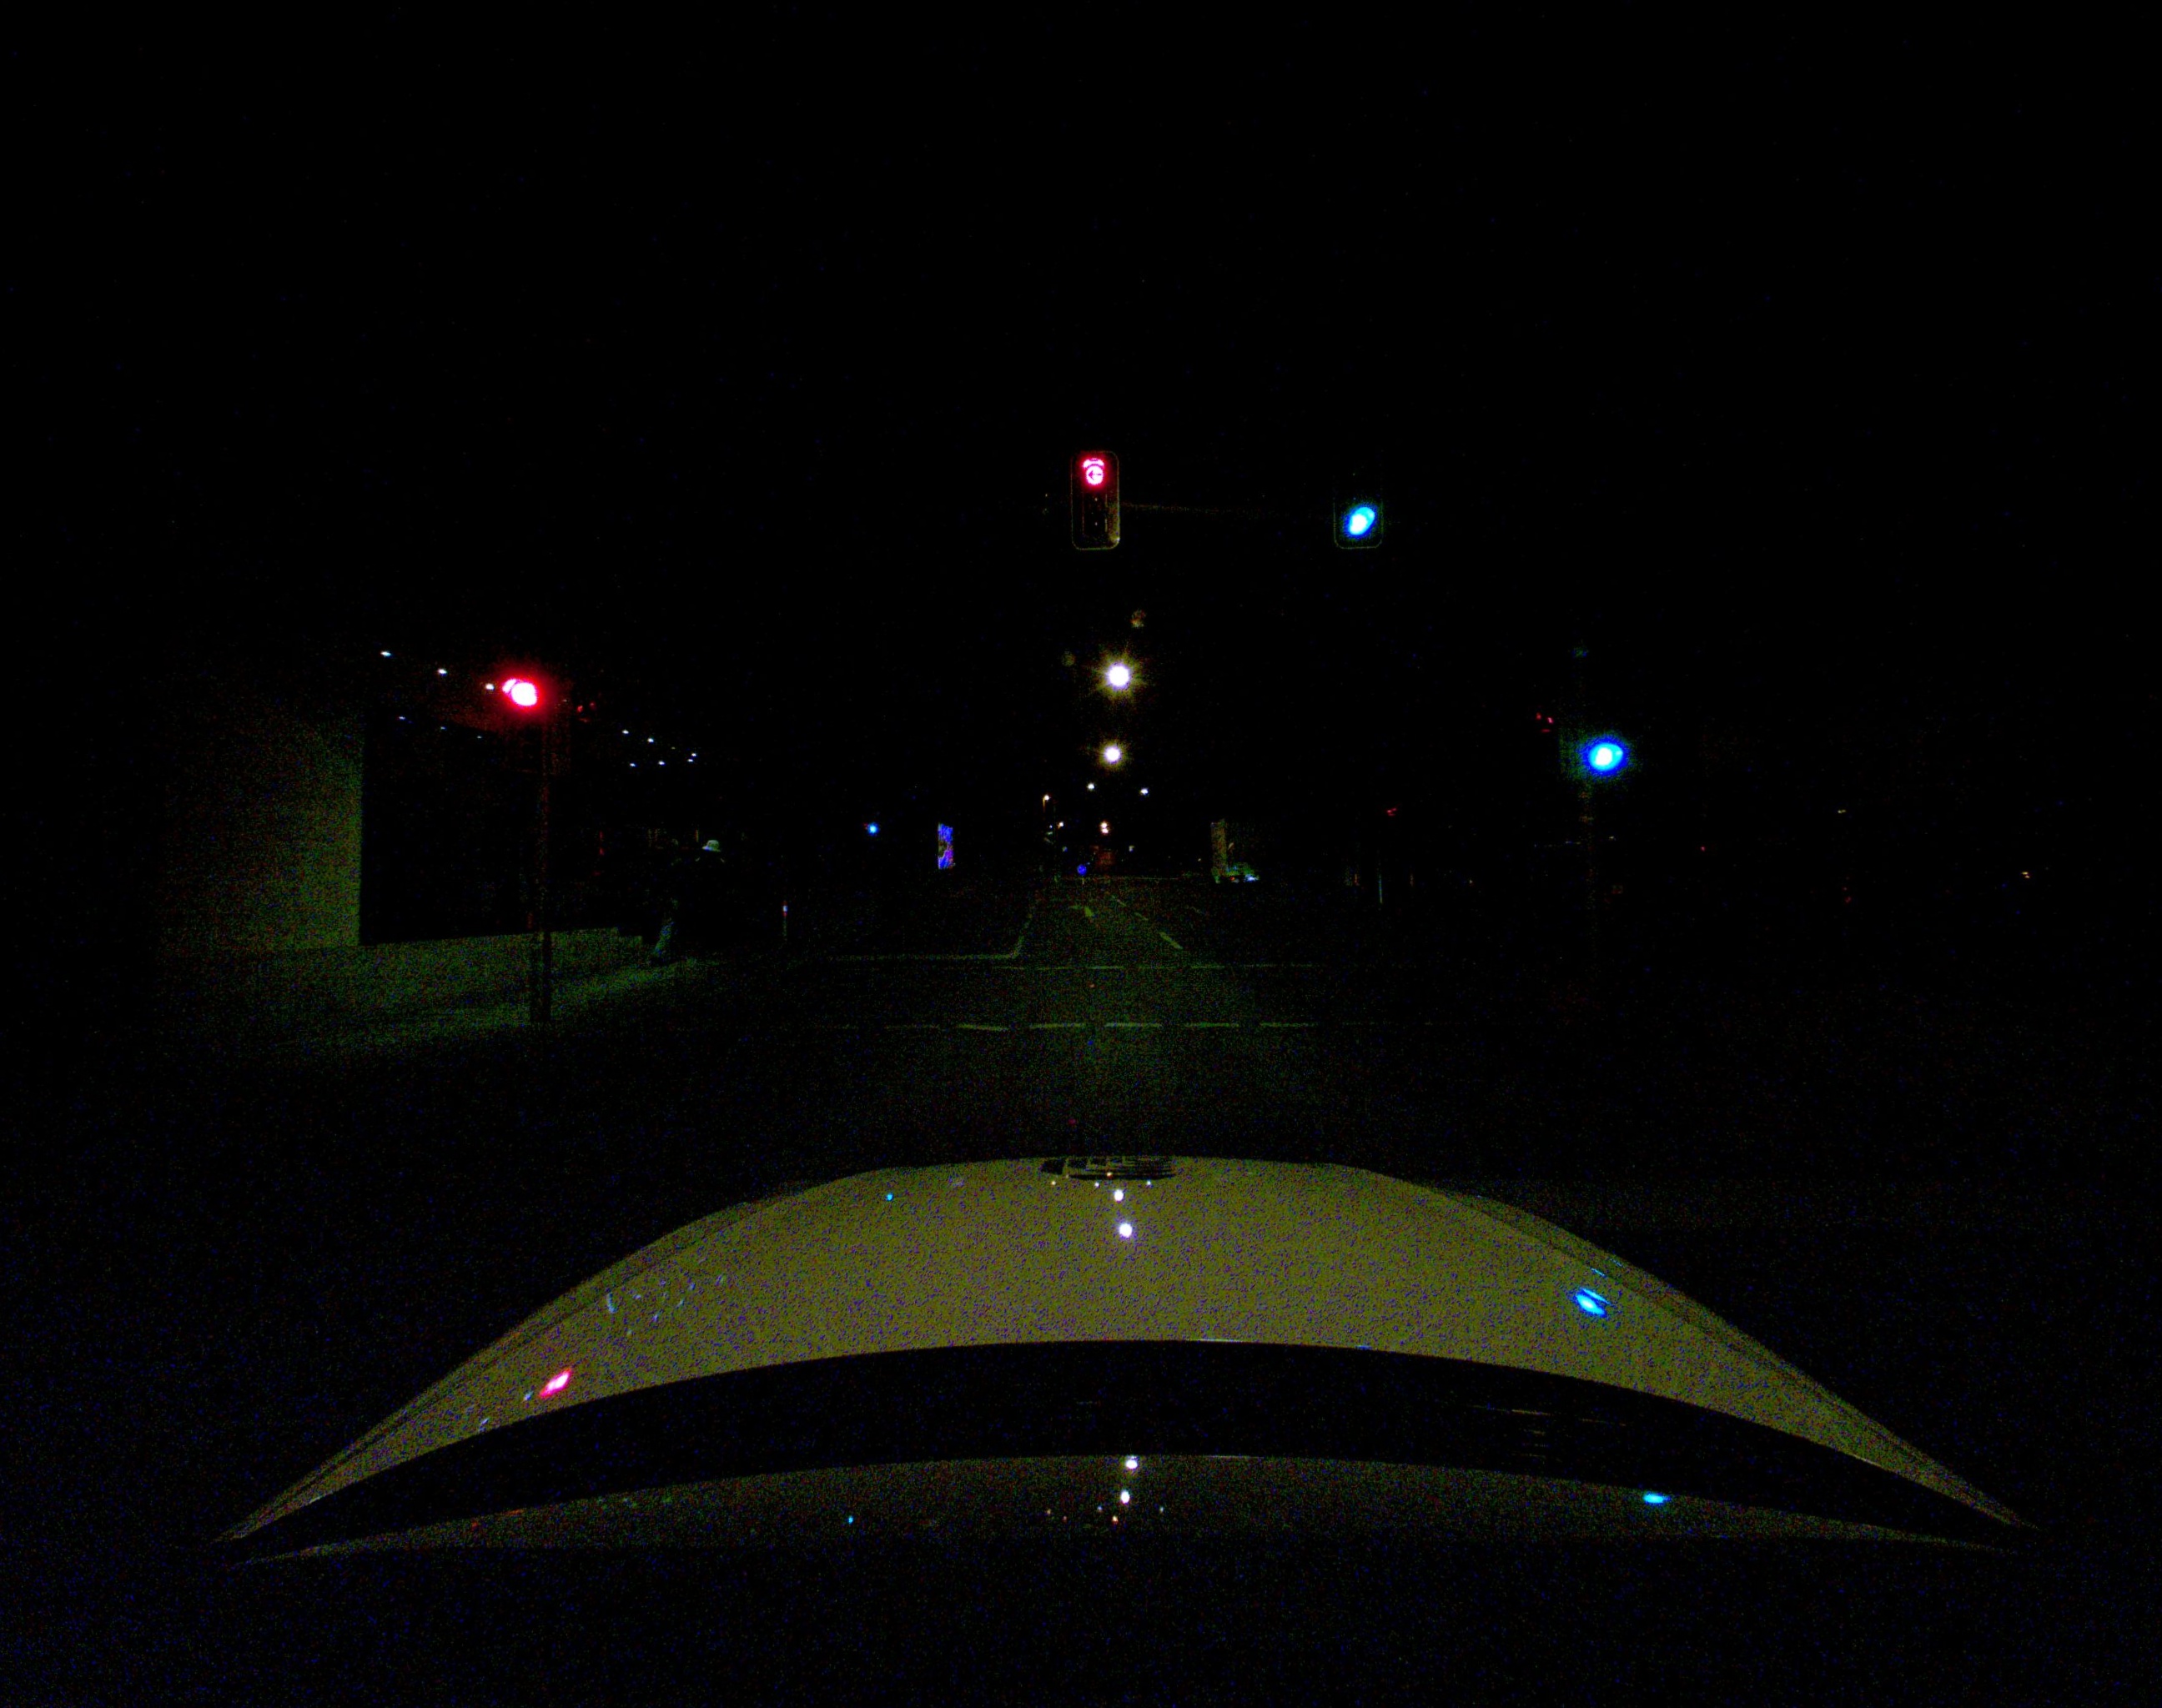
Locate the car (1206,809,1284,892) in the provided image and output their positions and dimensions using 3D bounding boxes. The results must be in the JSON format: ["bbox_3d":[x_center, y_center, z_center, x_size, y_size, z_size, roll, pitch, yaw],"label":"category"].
[{"bbox_3d":[6.764,-0.107,34.278,2.287,3.093,5.845,-2,-1,3],"label":"car"}]

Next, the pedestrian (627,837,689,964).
[{"bbox_3d":[-5.886,0.633,11.351,0.568,1.731,0.544,0,-1,1],"label":"pedestrian"}]

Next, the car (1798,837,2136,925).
[{"bbox_3d":[17.454,0.565,16.281,4.342,1.560,1.807,-2,-3,8],"label":"car"}]

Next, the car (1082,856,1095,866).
[{"bbox_3d":[1.255,1.171,134.610,1.901,1.557,3.906,0,-1,2],"label":"car"}]

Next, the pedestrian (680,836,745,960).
[{"bbox_3d":[-5.487,0.639,12.152,0.568,1.778,0.737,1,-1,1],"label":"pedestrian"}]
